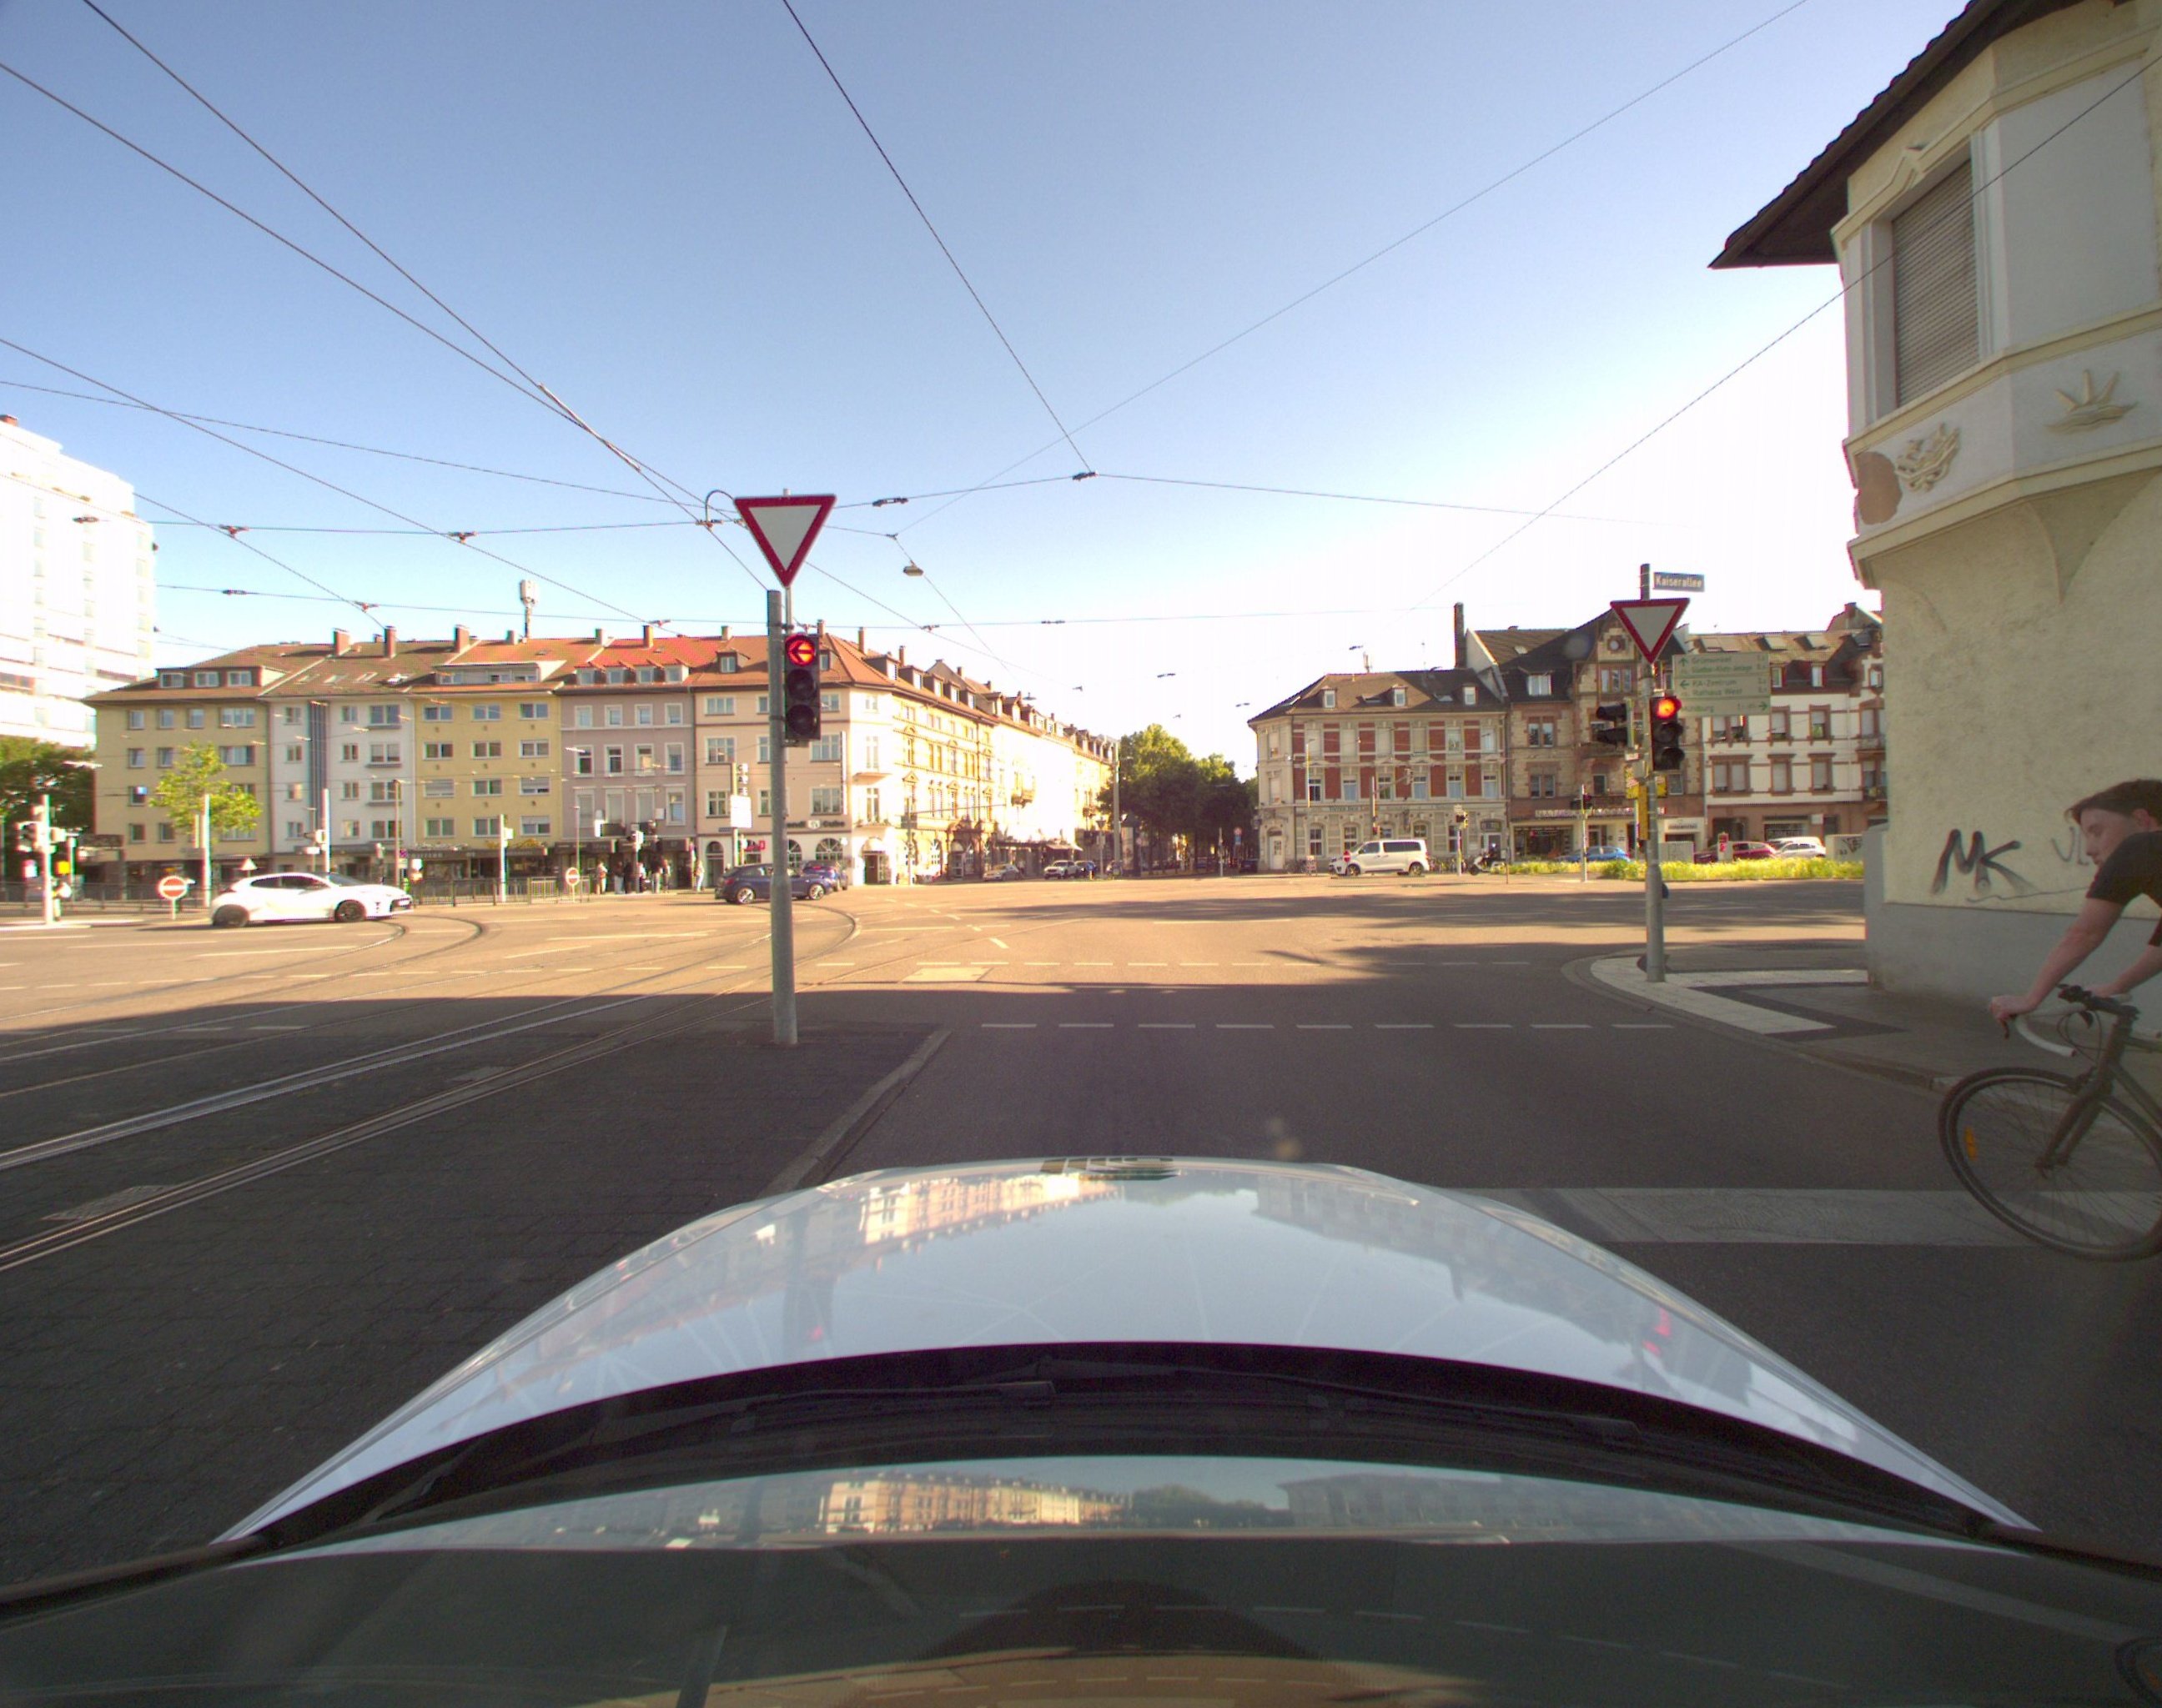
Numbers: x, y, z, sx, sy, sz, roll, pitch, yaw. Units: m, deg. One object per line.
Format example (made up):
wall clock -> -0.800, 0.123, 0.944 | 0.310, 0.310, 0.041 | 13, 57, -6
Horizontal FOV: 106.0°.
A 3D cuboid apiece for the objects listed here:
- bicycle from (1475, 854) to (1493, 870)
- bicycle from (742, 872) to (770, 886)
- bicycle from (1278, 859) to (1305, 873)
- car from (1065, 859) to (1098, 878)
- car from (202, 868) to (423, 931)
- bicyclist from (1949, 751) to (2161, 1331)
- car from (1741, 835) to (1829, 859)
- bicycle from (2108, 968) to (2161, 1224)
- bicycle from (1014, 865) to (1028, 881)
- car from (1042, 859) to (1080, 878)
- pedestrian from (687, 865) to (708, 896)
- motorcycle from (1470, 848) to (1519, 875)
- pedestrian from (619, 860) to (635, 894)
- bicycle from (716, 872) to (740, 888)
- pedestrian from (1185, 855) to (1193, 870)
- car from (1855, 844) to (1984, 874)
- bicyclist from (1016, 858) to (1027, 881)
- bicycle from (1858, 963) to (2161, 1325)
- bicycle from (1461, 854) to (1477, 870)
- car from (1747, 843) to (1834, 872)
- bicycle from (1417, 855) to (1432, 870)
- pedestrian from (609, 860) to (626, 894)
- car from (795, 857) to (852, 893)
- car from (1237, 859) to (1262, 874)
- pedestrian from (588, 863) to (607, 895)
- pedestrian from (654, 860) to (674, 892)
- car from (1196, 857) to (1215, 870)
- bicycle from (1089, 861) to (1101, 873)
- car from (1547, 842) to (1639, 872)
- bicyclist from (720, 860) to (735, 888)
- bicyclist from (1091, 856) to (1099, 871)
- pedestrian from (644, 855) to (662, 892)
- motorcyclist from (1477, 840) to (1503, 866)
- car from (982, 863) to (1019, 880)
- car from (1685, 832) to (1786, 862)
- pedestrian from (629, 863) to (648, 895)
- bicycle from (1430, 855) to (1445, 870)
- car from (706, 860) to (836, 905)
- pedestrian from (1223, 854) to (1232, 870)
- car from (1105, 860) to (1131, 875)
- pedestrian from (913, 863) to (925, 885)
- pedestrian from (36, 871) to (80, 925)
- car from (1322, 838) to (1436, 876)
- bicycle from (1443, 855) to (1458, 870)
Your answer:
bicycle -> 26.046, 0.533, 52.680 | 0.785, 1.016, 2.221 | -1, -1, 20
bicycle -> -22.989, 1.756, 57.611 | 1.694, 0.983, 0.611 | 0, -1, 1
bicycle -> 14.707, 0.829, 56.929 | 1.789, 0.963, 0.606 | -1, -1, 16
car -> 0.068, 1.290, 73.784 | 1.809, 1.685, 3.893 | -1, -1, 18
car -> -21.364, 1.225, 22.846 | 4.003, 1.454, 1.888 | -2, 0, -16
bicyclist -> 3.585, 0.570, 2.613 | 0.587, 1.767, 0.936 | 0, -1, 2
car -> 45.269, -0.442, 52.440 | 3.961, 1.438, 1.874 | 0, -1, 5
bicycle -> 4.460, 0.953, 2.455 | 0.501, 0.983, 1.783 | 0, -1, 2
bicycle -> -4.788, 1.488, 65.304 | 0.561, 1.254, 1.564 | -1, -1, 17
car -> -1.624, 1.178, 67.468 | 1.788, 1.585, 4.179 | -1, -1, 19
pedestrian -> -19.794, 1.357, 42.078 | 0.666, 1.594, 0.815 | 0, -1, 1
motorcycle -> 21.147, 0.394, 41.680 | 2.121, 1.333, 0.799 | -1, -1, 12
pedestrian -> -22.571, 1.140, 40.495 | 0.520, 1.648, 0.498 | 0, -1, 1
bicycle -> -23.045, 1.682, 53.190 | 0.618, 1.030, 1.758 | 0, -1, 7
pedestrian -> 14.749, 1.147, 111.016 | 0.936, 2.014, 0.830 | -1, -1, 16
car -> 43.980, 0.248, 42.768 | 4.839, 1.469, 1.805 | -1, 1, 2
bicyclist -> -4.797, 1.214, 65.315 | 0.561, 1.804, 0.918 | -1, -1, 17
bicycle -> 3.590, 0.963, 2.634 | 0.480, 0.991, 1.783 | 0, -1, 2
bicycle -> 25.188, 0.542, 52.885 | 0.758, 1.007, 2.231 | -1, -1, 20
car -> 41.616, 0.211, 47.828 | 3.584, 1.618, 1.779 | 0, -1, 0
bicycle -> 22.504, 0.577, 53.369 | 0.758, 0.963, 2.221 | -1, -1, 20
pedestrian -> -23.181, 1.147, 40.722 | 0.520, 1.648, 0.498 | 0, -1, 1
car -> -12.396, 0.967, 39.445 | 1.823, 1.575, 4.189 | -1, 0, -7
car -> 17.026, 1.254, 82.258 | 1.741, 1.556, 4.021 | -1, -1, 22
pedestrian -> -24.987, 1.302, 42.117 | 0.582, 1.648, 0.616 | 0, -1, 1
pedestrian -> -21.547, 1.114, 42.057 | 0.580, 1.648, 0.840 | 0, -1, 1
car -> 17.788, 1.347, 116.104 | 1.978, 1.684, 4.018 | -1, -1, 17
bicycle -> 1.470, 1.359, 85.435 | 0.668, 1.207, 1.831 | -1, -1, 20
car -> 28.329, 0.179, 45.143 | 3.970, 1.622, 1.806 | 0, -1, 3
bicyclist -> -23.056, 1.301, 53.110 | 0.618, 1.790, 0.616 | 0, -1, 7
bicyclist -> 1.467, 0.958, 85.442 | 0.668, 1.568, 0.751 | -1, -1, 20
pedestrian -> -21.589, 0.979, 41.065 | 0.525, 1.823, 0.677 | 0, -1, 1
motorcyclist -> 20.937, -0.044, 41.733 | 1.007, 1.300, 0.792 | -1, -1, 12
car -> -6.625, 1.449, 67.341 | 1.647, 1.374, 3.909 | -1, -1, 17
car -> 33.299, -0.360, 41.511 | 3.854, 1.426, 1.596 | -1, 0, 2
pedestrian -> -22.982, 1.295, 42.341 | 0.571, 1.648, 0.727 | 0, -1, 1
bicycle -> 23.259, 0.570, 53.102 | 0.758, 0.968, 2.221 | -1, -1, 20
car -> -11.012, 0.963, 29.022 | 4.018, 1.403, 1.811 | -1, 0, -36
pedestrian -> 18.430, 1.020, 102.420 | 0.957, 2.014, 0.919 | 0, -1, 3
car -> 3.890, 1.405, 84.763 | 1.788, 1.575, 3.908 | -1, -1, 17
pedestrian -> -11.958, 1.456, 60.126 | 0.562, 1.642, 0.797 | -1, -1, 25
pedestrian -> -31.532, 1.351, 25.111 | 0.770, 1.609, 0.605 | 0, -1, -44
car -> 15.359, 0.147, 42.129 | 5.183, 1.854, 1.999 | -1, 0, -1
bicycle -> 24.076, 0.564, 53.060 | 0.758, 0.983, 2.221 | -1, -1, 20
